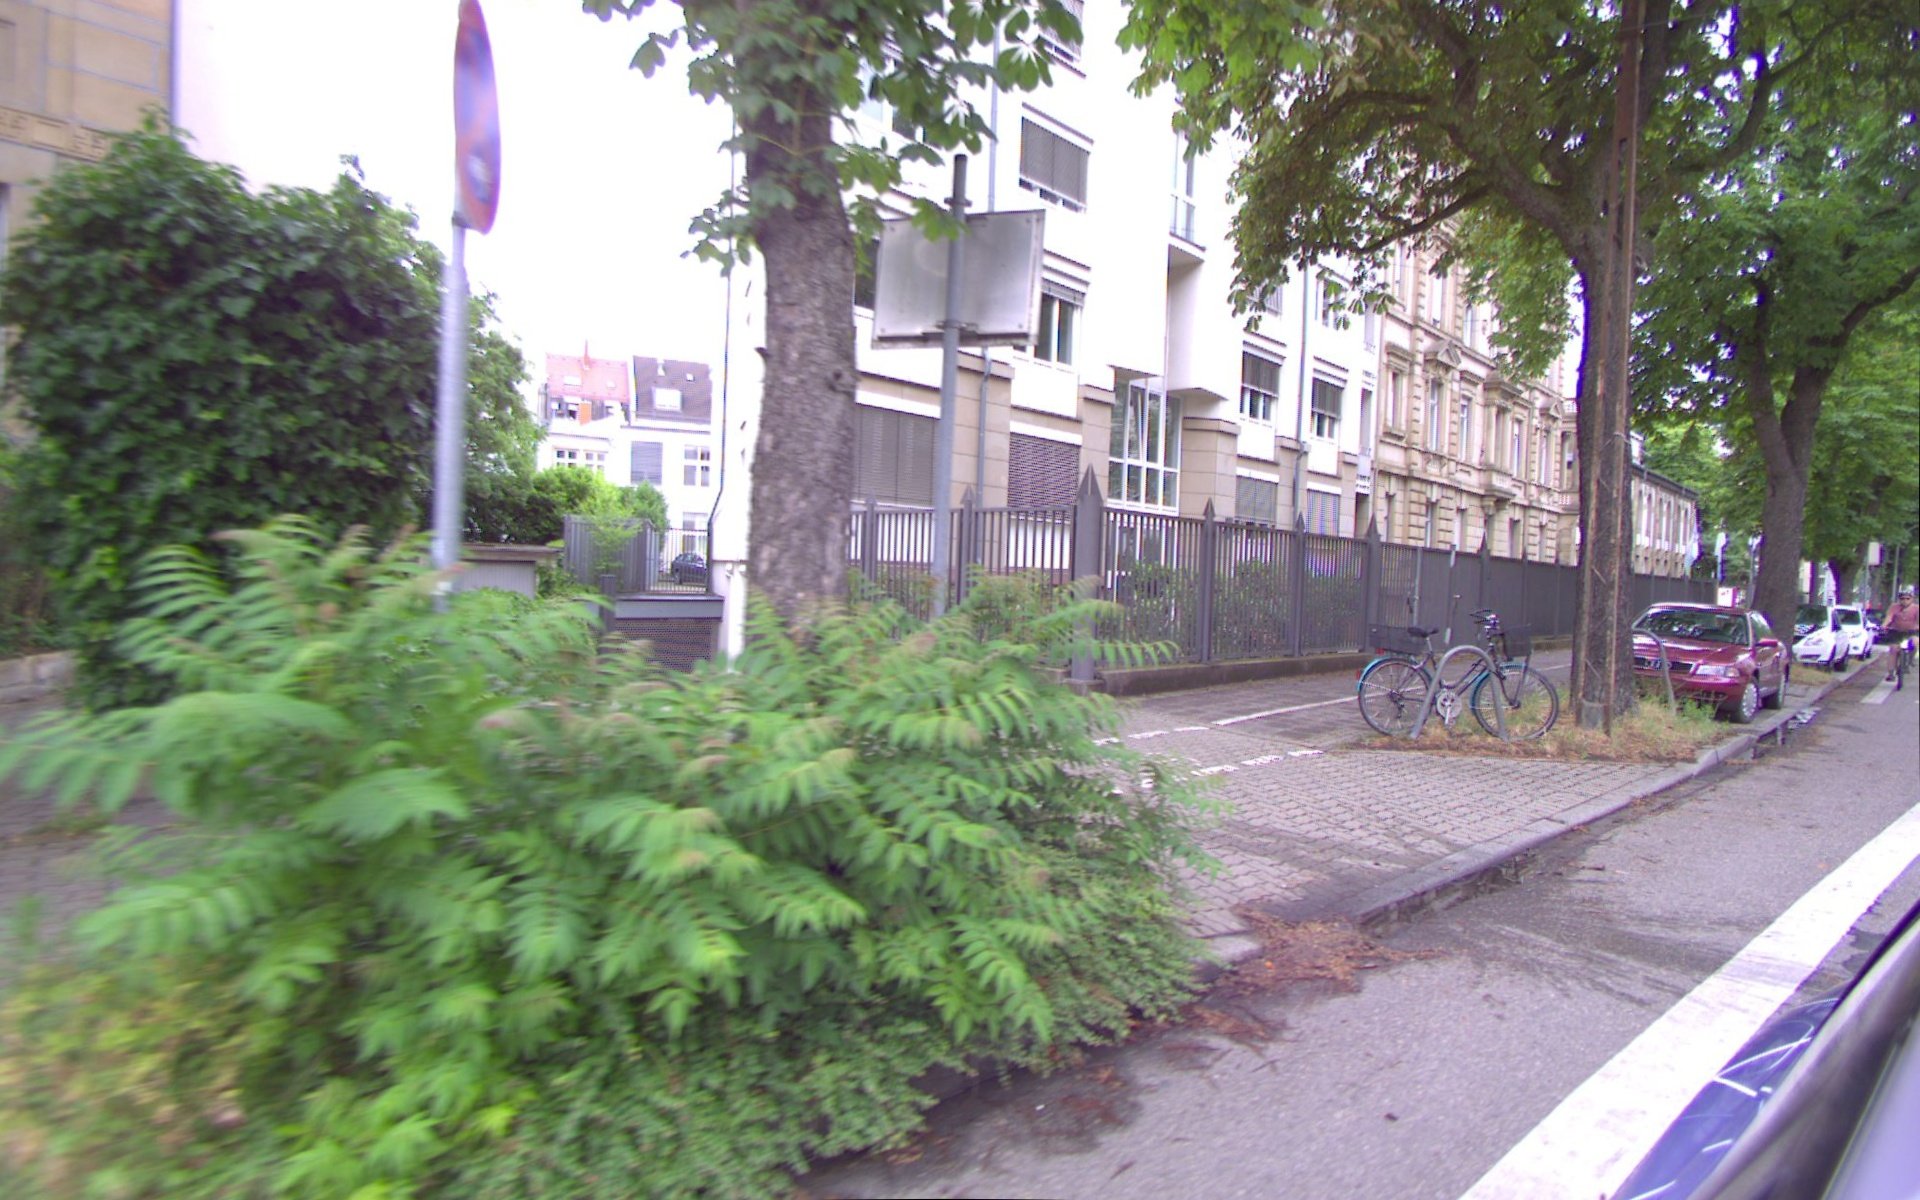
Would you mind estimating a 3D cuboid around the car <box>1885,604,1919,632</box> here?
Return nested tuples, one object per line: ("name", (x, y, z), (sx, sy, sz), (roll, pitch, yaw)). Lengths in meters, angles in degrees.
("car", (52.873, 0.978, 56.449), (3.773, 1.386, 1.604), (1, 4, -44))

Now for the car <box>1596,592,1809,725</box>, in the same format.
("car", (10.158, 0.680, 13.721), (4.157, 1.415, 1.604), (1, 4, -44))

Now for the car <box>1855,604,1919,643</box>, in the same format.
("car", (37.336, 0.908, 40.745), (3.773, 1.386, 1.604), (1, 4, -44))

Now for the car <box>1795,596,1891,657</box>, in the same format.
("car", (24.406, 0.695, 27.921), (3.702, 1.453, 1.629), (1, 4, -44))

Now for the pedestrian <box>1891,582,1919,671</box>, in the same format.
("pedestrian", (17.334, 0.482, 18.274), (0.693, 1.569, 0.683), (1, 2, -44))

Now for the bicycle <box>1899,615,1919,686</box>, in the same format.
("bicycle", (17.439, 0.906, 18.399), (1.678, 1.219, 0.413), (1, 2, -44))

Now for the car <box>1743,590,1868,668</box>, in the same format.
("car", (18.533, 0.588, 22.122), (3.713, 1.453, 1.605), (1, 4, -44))

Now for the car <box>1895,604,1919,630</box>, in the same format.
("car", (58.068, 1.032, 61.465), (3.773, 1.442, 1.604), (1, 4, -44))

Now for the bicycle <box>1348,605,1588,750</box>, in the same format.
("bicycle", (4.498, 0.674, 9.016), (1.869, 1.213, 0.433), (1, 1, 2))
